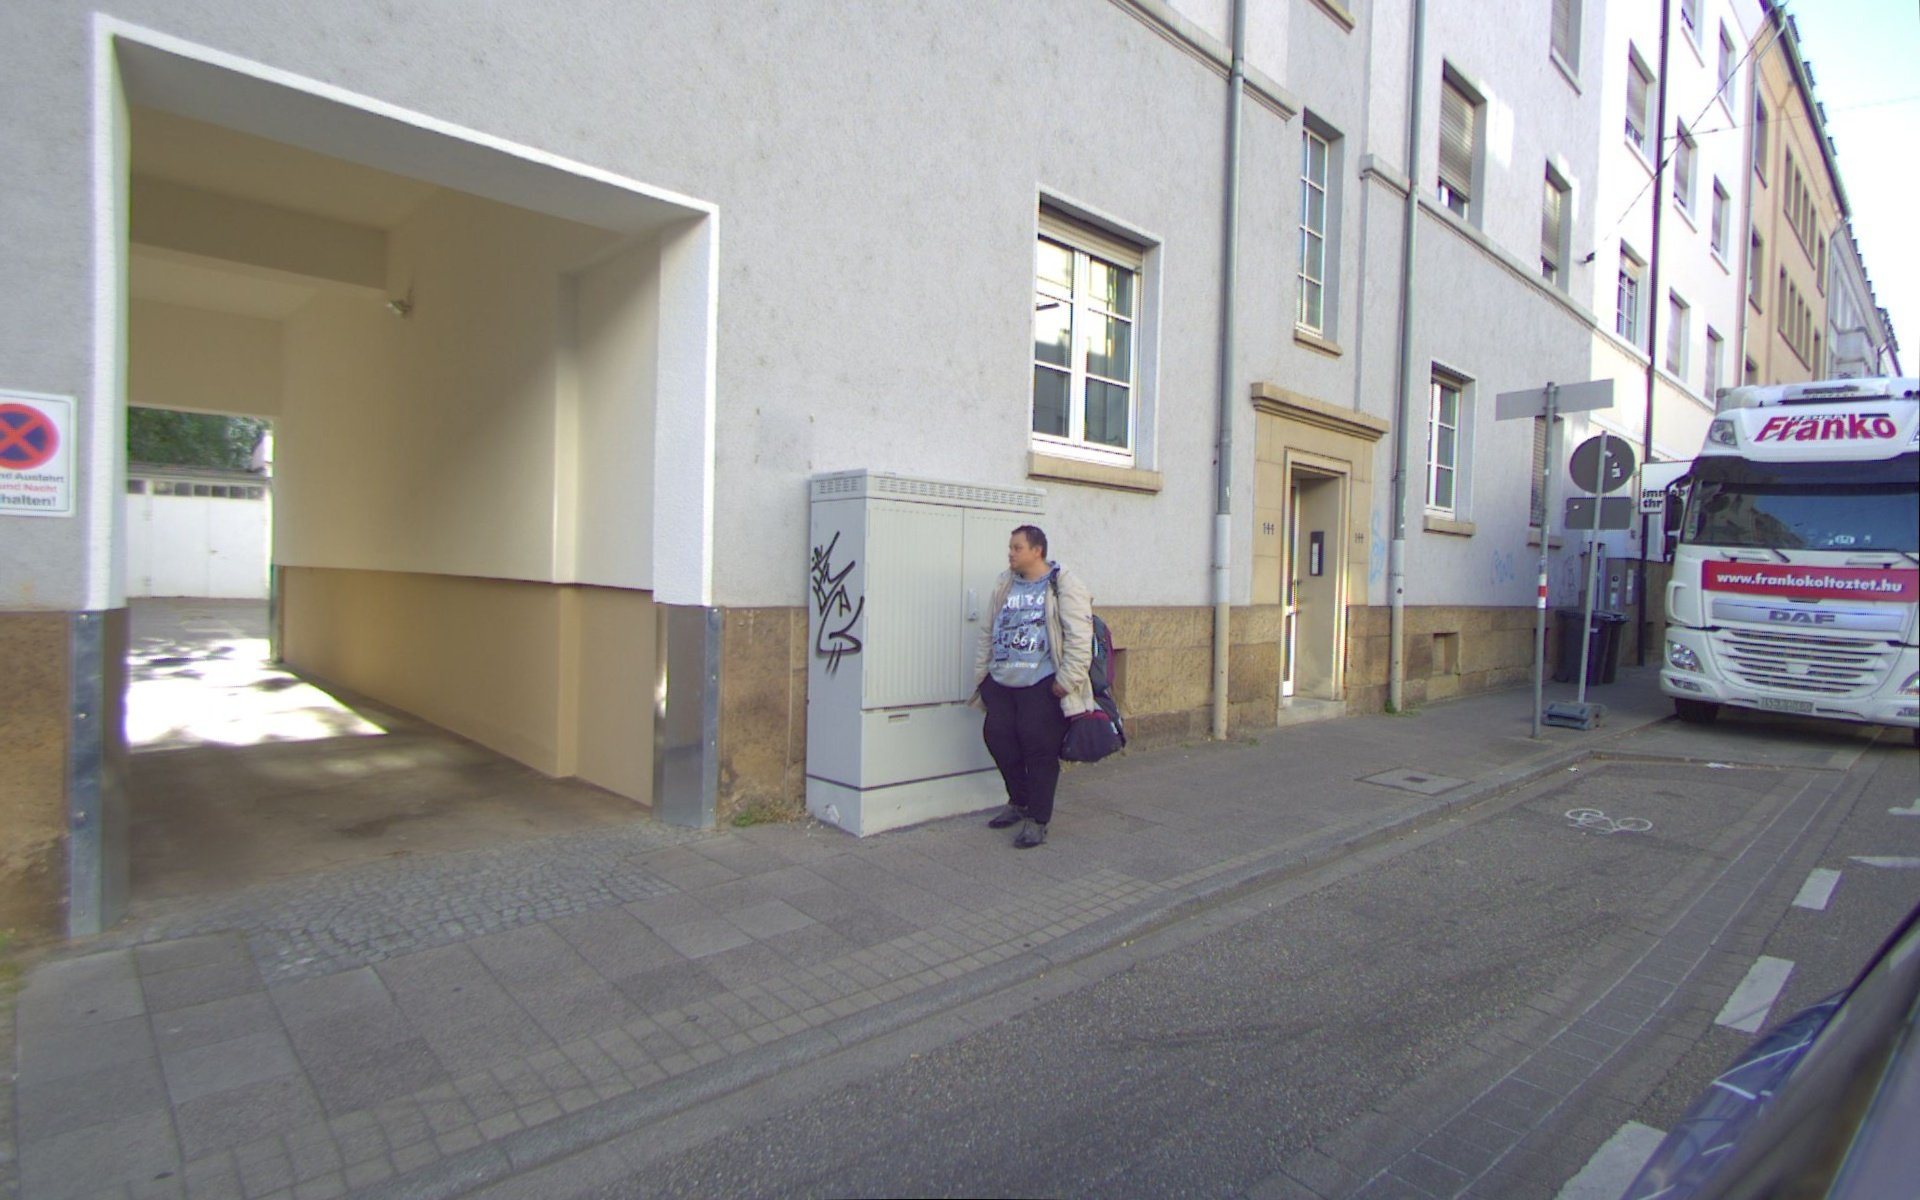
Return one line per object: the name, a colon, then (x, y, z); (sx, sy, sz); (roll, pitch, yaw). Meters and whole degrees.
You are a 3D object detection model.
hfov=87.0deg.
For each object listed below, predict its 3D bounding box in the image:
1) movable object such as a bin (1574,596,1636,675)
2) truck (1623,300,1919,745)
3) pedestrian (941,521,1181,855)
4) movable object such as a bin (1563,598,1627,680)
movable object such as a bin: (9.568, 0.512, 15.014); (0.658, 1.118, 0.533); (2, 2, 44)
truck: (12.557, -0.761, 13.961); (11.578, 4.123, 2.864); (0, 2, -43)
pedestrian: (0.523, 0.392, 5.314); (0.854, 1.552, 0.827); (0, 3, -42)
movable object such as a bin: (9.157, 0.545, 14.600); (0.658, 1.118, 0.533); (2, 2, 44)
